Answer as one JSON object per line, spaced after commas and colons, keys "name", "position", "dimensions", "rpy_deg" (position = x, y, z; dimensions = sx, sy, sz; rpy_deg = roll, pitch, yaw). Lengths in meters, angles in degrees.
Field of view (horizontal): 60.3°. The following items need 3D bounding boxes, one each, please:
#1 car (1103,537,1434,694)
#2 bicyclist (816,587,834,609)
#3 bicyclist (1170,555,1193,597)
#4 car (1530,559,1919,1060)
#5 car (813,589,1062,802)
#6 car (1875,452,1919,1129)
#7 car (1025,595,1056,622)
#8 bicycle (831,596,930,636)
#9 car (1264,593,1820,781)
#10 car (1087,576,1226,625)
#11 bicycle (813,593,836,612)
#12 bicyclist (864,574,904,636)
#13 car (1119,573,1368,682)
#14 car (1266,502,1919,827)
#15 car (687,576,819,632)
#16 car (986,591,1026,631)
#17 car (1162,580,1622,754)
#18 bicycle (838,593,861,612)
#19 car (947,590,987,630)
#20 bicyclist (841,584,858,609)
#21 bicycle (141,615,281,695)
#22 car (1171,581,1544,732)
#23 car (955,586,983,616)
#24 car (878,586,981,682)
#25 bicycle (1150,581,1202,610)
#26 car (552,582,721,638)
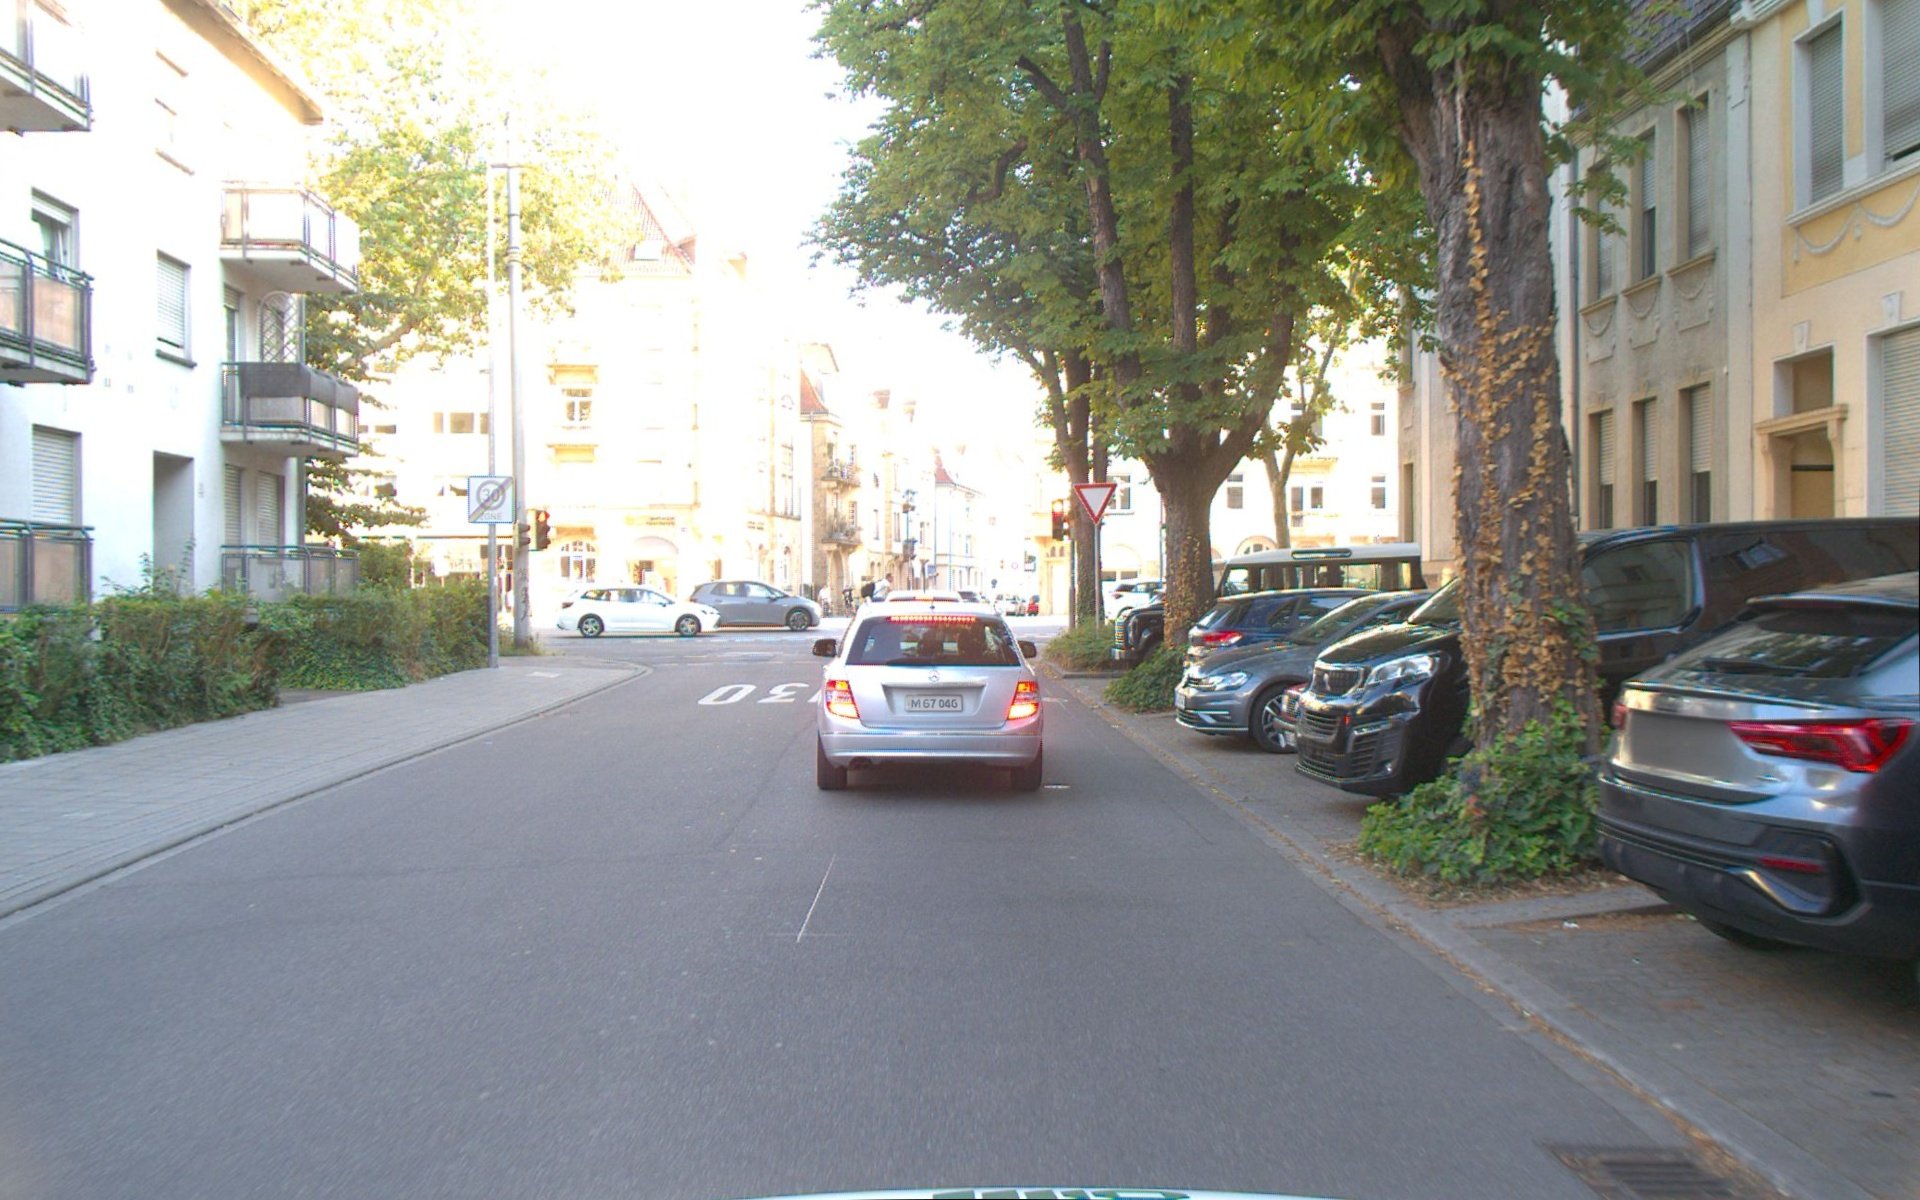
{"name": "car", "position": [4.383, 0.205, 23.860], "dimensions": [4.377, 2.071, 1.699], "rpy_deg": [-2, 0, -4]}
{"name": "bicyclist", "position": [-7.105, -0.103, 87.073], "dimensions": [0.754, 1.177, 0.753], "rpy_deg": [0, 1, 11]}
{"name": "bicyclist", "position": [9.935, -1.078, 74.223], "dimensions": [0.874, 1.892, 0.636], "rpy_deg": [0, 0, -5]}
{"name": "car", "position": [4.703, 0.594, 6.284], "dimensions": [4.421, 1.550, 1.843], "rpy_deg": [-2, 0, -5]}
{"name": "car", "position": [-0.236, 0.656, 13.882], "dimensions": [1.741, 1.477, 4.546], "rpy_deg": [0, 0, -2]}
{"name": "car", "position": [4.680, 0.478, 3.901], "dimensions": [4.028, 1.869, 1.844], "rpy_deg": [-2, 0, -3]}
{"name": "car", "position": [5.670, 0.557, 115.655], "dimensions": [1.796, 1.775, 4.004], "rpy_deg": [0, 1, 8]}
{"name": "bicycle", "position": [-2.188, 0.438, 45.386], "dimensions": [2.635, 1.058, 0.805], "rpy_deg": [-1, 0, -12]}
{"name": "car", "position": [4.754, 0.672, 13.798], "dimensions": [4.056, 1.338, 1.628], "rpy_deg": [-2, 0, -5]}
{"name": "car", "position": [6.153, 0.006, 51.991], "dimensions": [4.024, 1.446, 1.737], "rpy_deg": [-1, 1, -8]}
{"name": "bicycle", "position": [-7.123, 0.124, 86.996], "dimensions": [0.754, 0.956, 1.942], "rpy_deg": [0, 1, 11]}
{"name": "bicyclist", "position": [-2.083, 0.136, 45.409], "dimensions": [0.979, 1.683, 0.805], "rpy_deg": [0, 0, -11]}
{"name": "car", "position": [4.543, 0.423, 26.810], "dimensions": [3.650, 1.597, 1.707], "rpy_deg": [-2, 0, -4]}
{"name": "car", "position": [4.643, 0.368, 11.286], "dimensions": [4.657, 1.907, 1.895], "rpy_deg": [-2, 0, -5]}
{"name": "car", "position": [-6.254, 0.099, 50.011], "dimensions": [3.892, 1.609, 1.736], "rpy_deg": [-1, 0, -8]}
{"name": "car", "position": [2.813, 0.627, 99.597], "dimensions": [1.987, 2.319, 4.004], "rpy_deg": [0, 1, 8]}
{"name": "car", "position": [4.109, 0.606, 16.092], "dimensions": [3.973, 1.477, 1.721], "rpy_deg": [-2, 0, -4]}
{"name": "bicycle", "position": [-5.826, 0.129, 87.096], "dimensions": [0.754, 0.950, 1.942], "rpy_deg": [0, 1, 11]}
{"name": "car", "position": [0.446, 0.596, 101.944], "dimensions": [1.987, 2.319, 4.004], "rpy_deg": [0, 1, 8]}
{"name": "bicyclist", "position": [-5.825, -0.170, 87.095], "dimensions": [0.754, 1.312, 0.753], "rpy_deg": [0, 1, 11]}
{"name": "bicycle", "position": [-10.060, 0.744, 22.241], "dimensions": [1.607, 1.026, 0.510], "rpy_deg": [2, -1, -42]}
{"name": "car", "position": [4.319, 0.586, 18.295], "dimensions": [3.650, 1.477, 1.707], "rpy_deg": [-2, 0, -4]}
{"name": "car", "position": [0.722, 0.065, 131.030], "dimensions": [1.749, 2.242, 4.004], "rpy_deg": [0, 1, 8]}
{"name": "car", "position": [-0.552, 0.514, 27.723], "dimensions": [1.587, 1.472, 4.343], "rpy_deg": [0, 0, -2]}
{"name": "bicycle", "position": [9.678, -0.191, 74.194], "dimensions": [2.212, 1.268, 0.636], "rpy_deg": [0, 0, -5]}
{"name": "car", "position": [-9.050, 0.266, 46.600], "dimensions": [4.576, 1.473, 1.736], "rpy_deg": [-1, 0, -10]}
